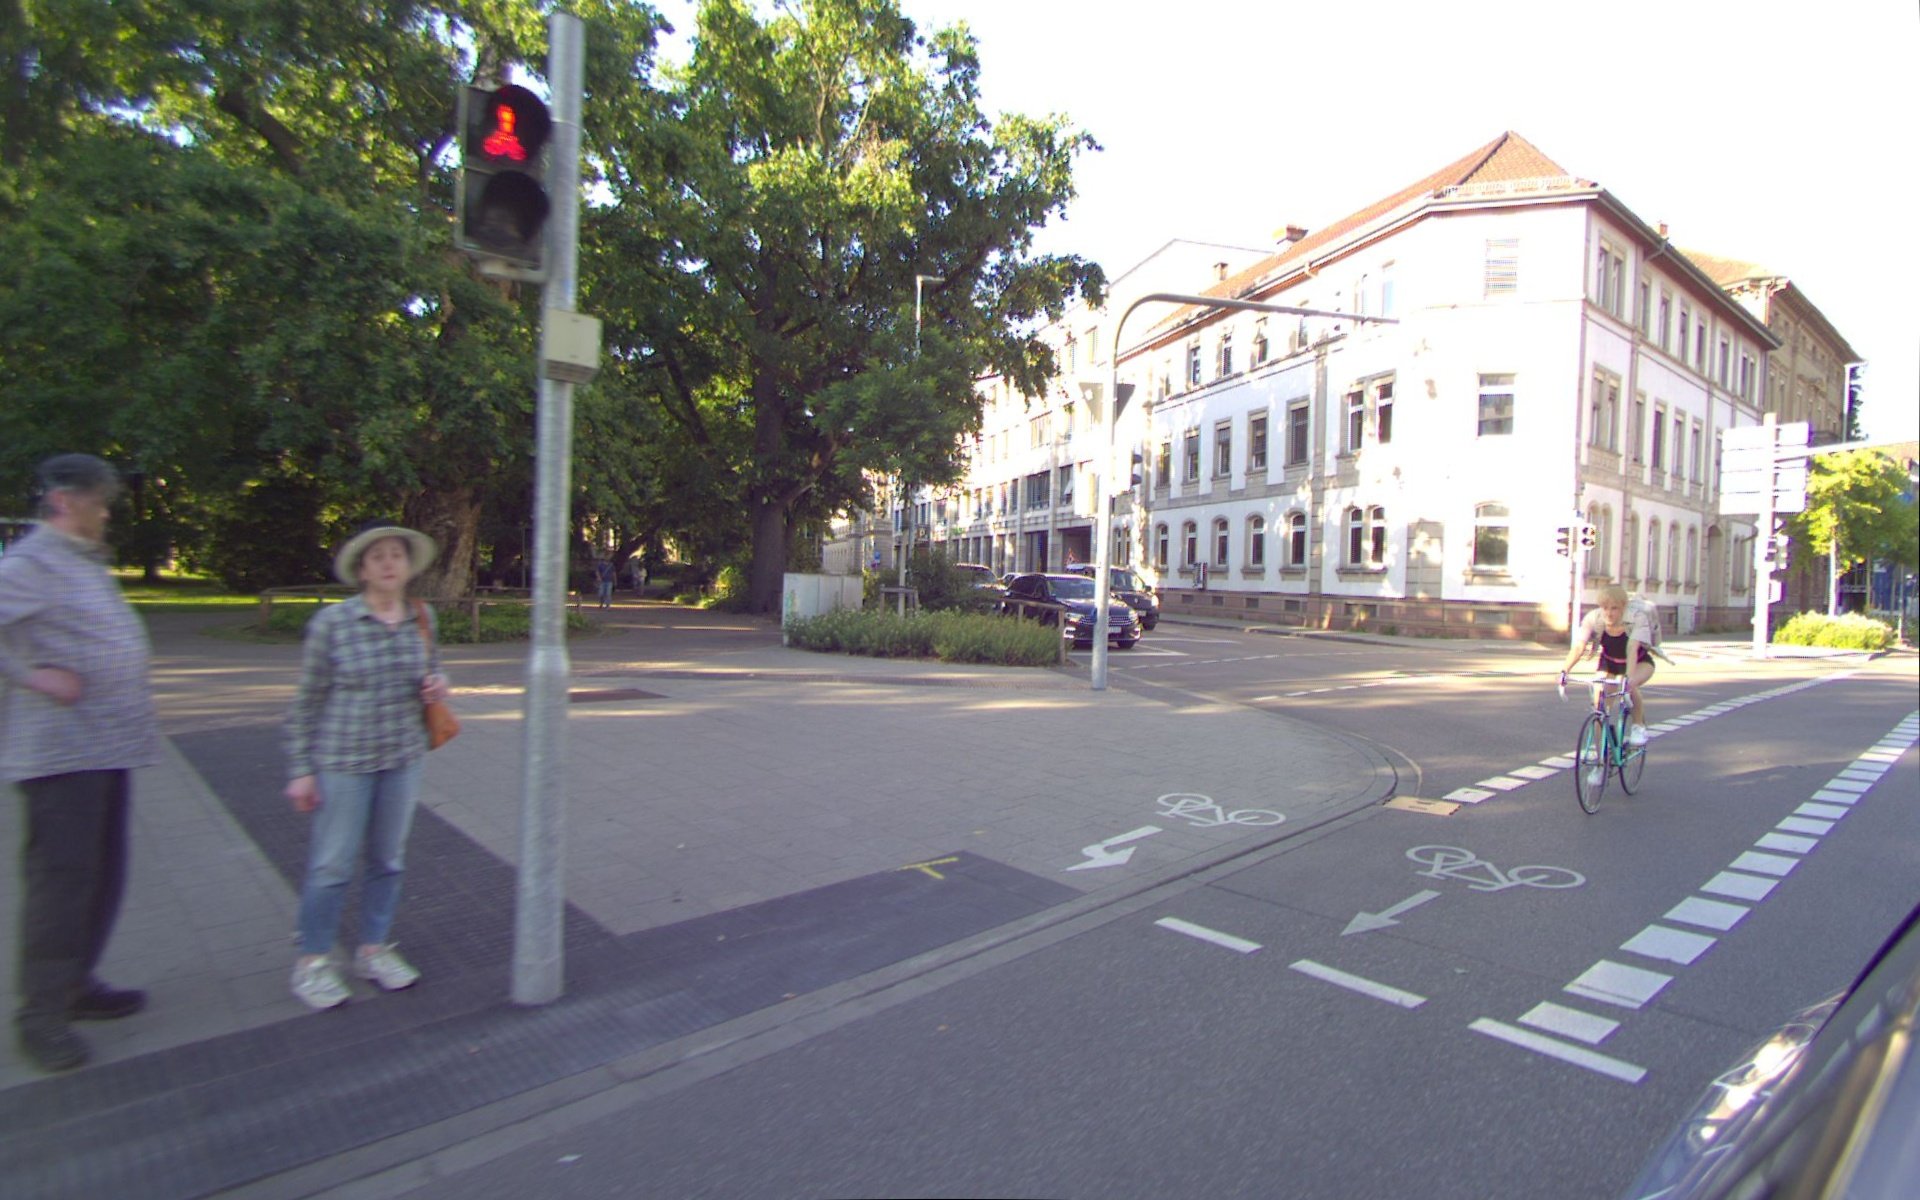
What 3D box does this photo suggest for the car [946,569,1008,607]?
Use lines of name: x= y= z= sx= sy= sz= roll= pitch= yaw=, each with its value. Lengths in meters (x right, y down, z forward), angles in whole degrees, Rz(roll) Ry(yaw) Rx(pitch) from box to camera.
car: x=0.674 y=-0.534 z=43.404 sx=1.597 sy=1.432 sz=3.659 roll=3 pitch=1 yaw=-16

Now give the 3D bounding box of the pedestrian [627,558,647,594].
pedestrian: x=-16.315 y=-1.213 z=51.115 sx=0.769 sy=1.750 sz=0.808 roll=3 pitch=2 yaw=-6

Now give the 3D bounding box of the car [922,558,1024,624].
car: x=0.261 y=-0.322 z=28.394 sx=1.863 sy=1.673 sz=4.548 roll=1 pitch=2 yaw=-12

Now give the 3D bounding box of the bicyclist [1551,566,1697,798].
bicyclist: x=4.723 y=0.534 z=7.184 sx=1.062 sy=1.509 sz=0.553 roll=1 pitch=1 yaw=-41

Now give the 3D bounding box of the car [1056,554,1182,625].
car: x=4.511 y=-0.355 z=29.429 sx=1.908 sy=1.827 sz=4.258 roll=3 pitch=1 yaw=-16

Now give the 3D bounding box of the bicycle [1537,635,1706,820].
bicycle: x=4.796 y=0.846 z=7.293 sx=1.810 sy=1.111 sz=0.521 roll=0 pitch=2 yaw=-41

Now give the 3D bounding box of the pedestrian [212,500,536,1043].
pedestrian: x=-2.091 y=0.503 z=3.617 sx=0.765 sy=1.656 sz=0.759 roll=5 pitch=3 yaw=40

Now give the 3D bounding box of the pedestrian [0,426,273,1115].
pedestrian: x=-2.844 y=0.422 z=3.069 sx=0.847 sy=1.824 sz=0.903 roll=4 pitch=3 yaw=15

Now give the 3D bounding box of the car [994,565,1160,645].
car: x=2.348 y=0.023 z=21.664 sx=1.863 sy=1.492 sz=4.613 roll=1 pitch=2 yaw=-16

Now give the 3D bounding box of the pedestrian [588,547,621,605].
pedestrian: x=-11.139 y=-0.747 z=31.701 sx=0.769 sy=1.750 sz=0.808 roll=2 pitch=3 yaw=-30

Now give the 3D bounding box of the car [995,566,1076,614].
car: x=2.665 y=-0.398 z=36.347 sx=1.702 sy=1.529 sz=3.538 roll=3 pitch=1 yaw=-16
